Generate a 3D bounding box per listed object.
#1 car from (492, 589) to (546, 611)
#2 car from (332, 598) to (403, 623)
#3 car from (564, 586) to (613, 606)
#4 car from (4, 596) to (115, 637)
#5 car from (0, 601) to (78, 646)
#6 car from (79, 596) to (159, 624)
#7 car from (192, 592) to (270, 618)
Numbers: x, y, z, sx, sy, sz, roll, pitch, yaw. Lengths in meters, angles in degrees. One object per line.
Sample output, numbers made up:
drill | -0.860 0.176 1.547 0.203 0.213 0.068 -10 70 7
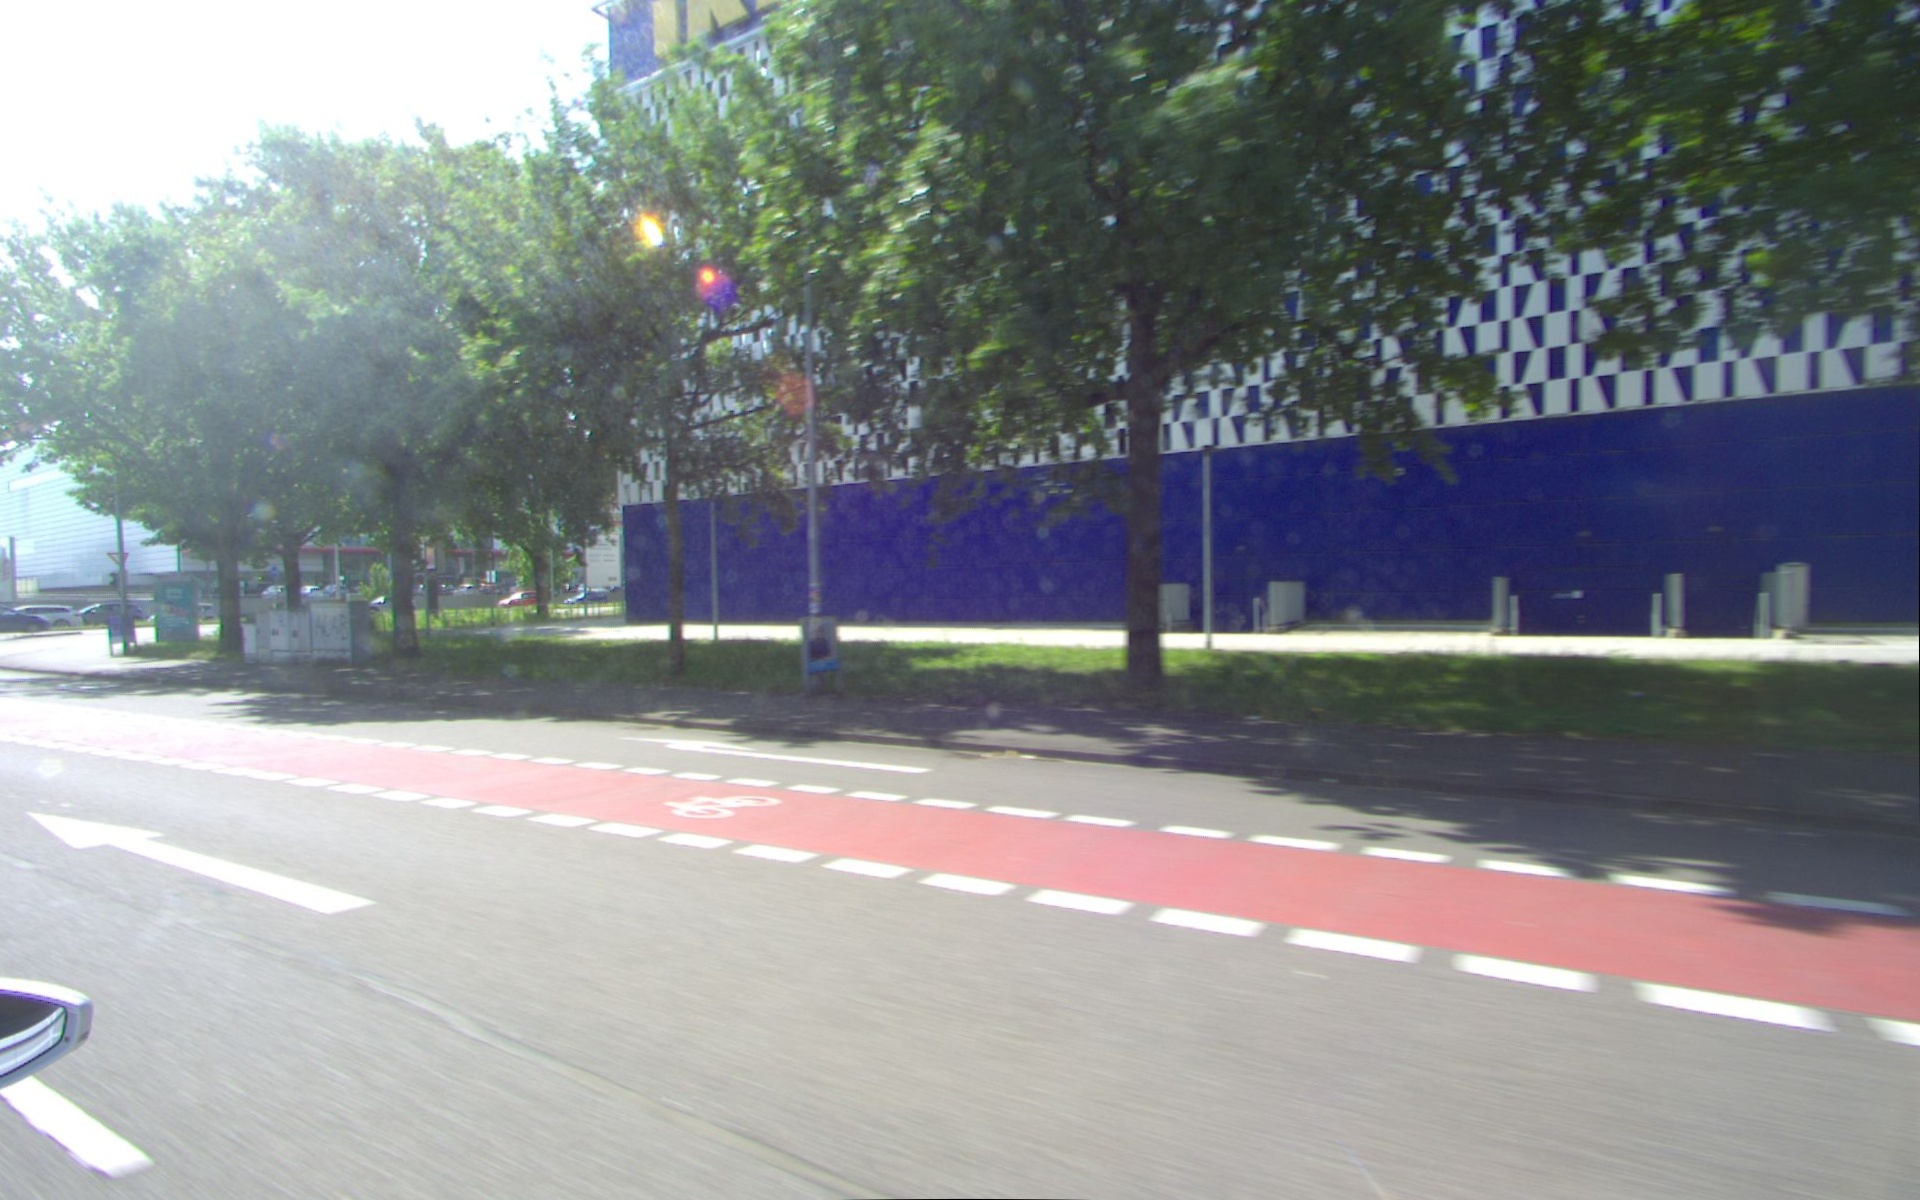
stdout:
car | -36.045 -0.030 81.975 1.462 1.540 3.756 0 3 37
car | -43.035 0.750 72.778 1.462 1.540 4.114 0 3 37
car | -32.834 -0.388 88.576 1.462 1.540 3.756 0 3 37
car | -51.245 0.898 57.048 1.462 2.022 4.383 0 3 37
car | -46.420 1.183 49.162 1.461 2.022 4.386 0 3 34
car | -51.601 0.583 61.511 1.462 1.450 3.455 0 3 37
car | -51.055 0.351 70.181 1.462 1.540 4.114 0 3 37
